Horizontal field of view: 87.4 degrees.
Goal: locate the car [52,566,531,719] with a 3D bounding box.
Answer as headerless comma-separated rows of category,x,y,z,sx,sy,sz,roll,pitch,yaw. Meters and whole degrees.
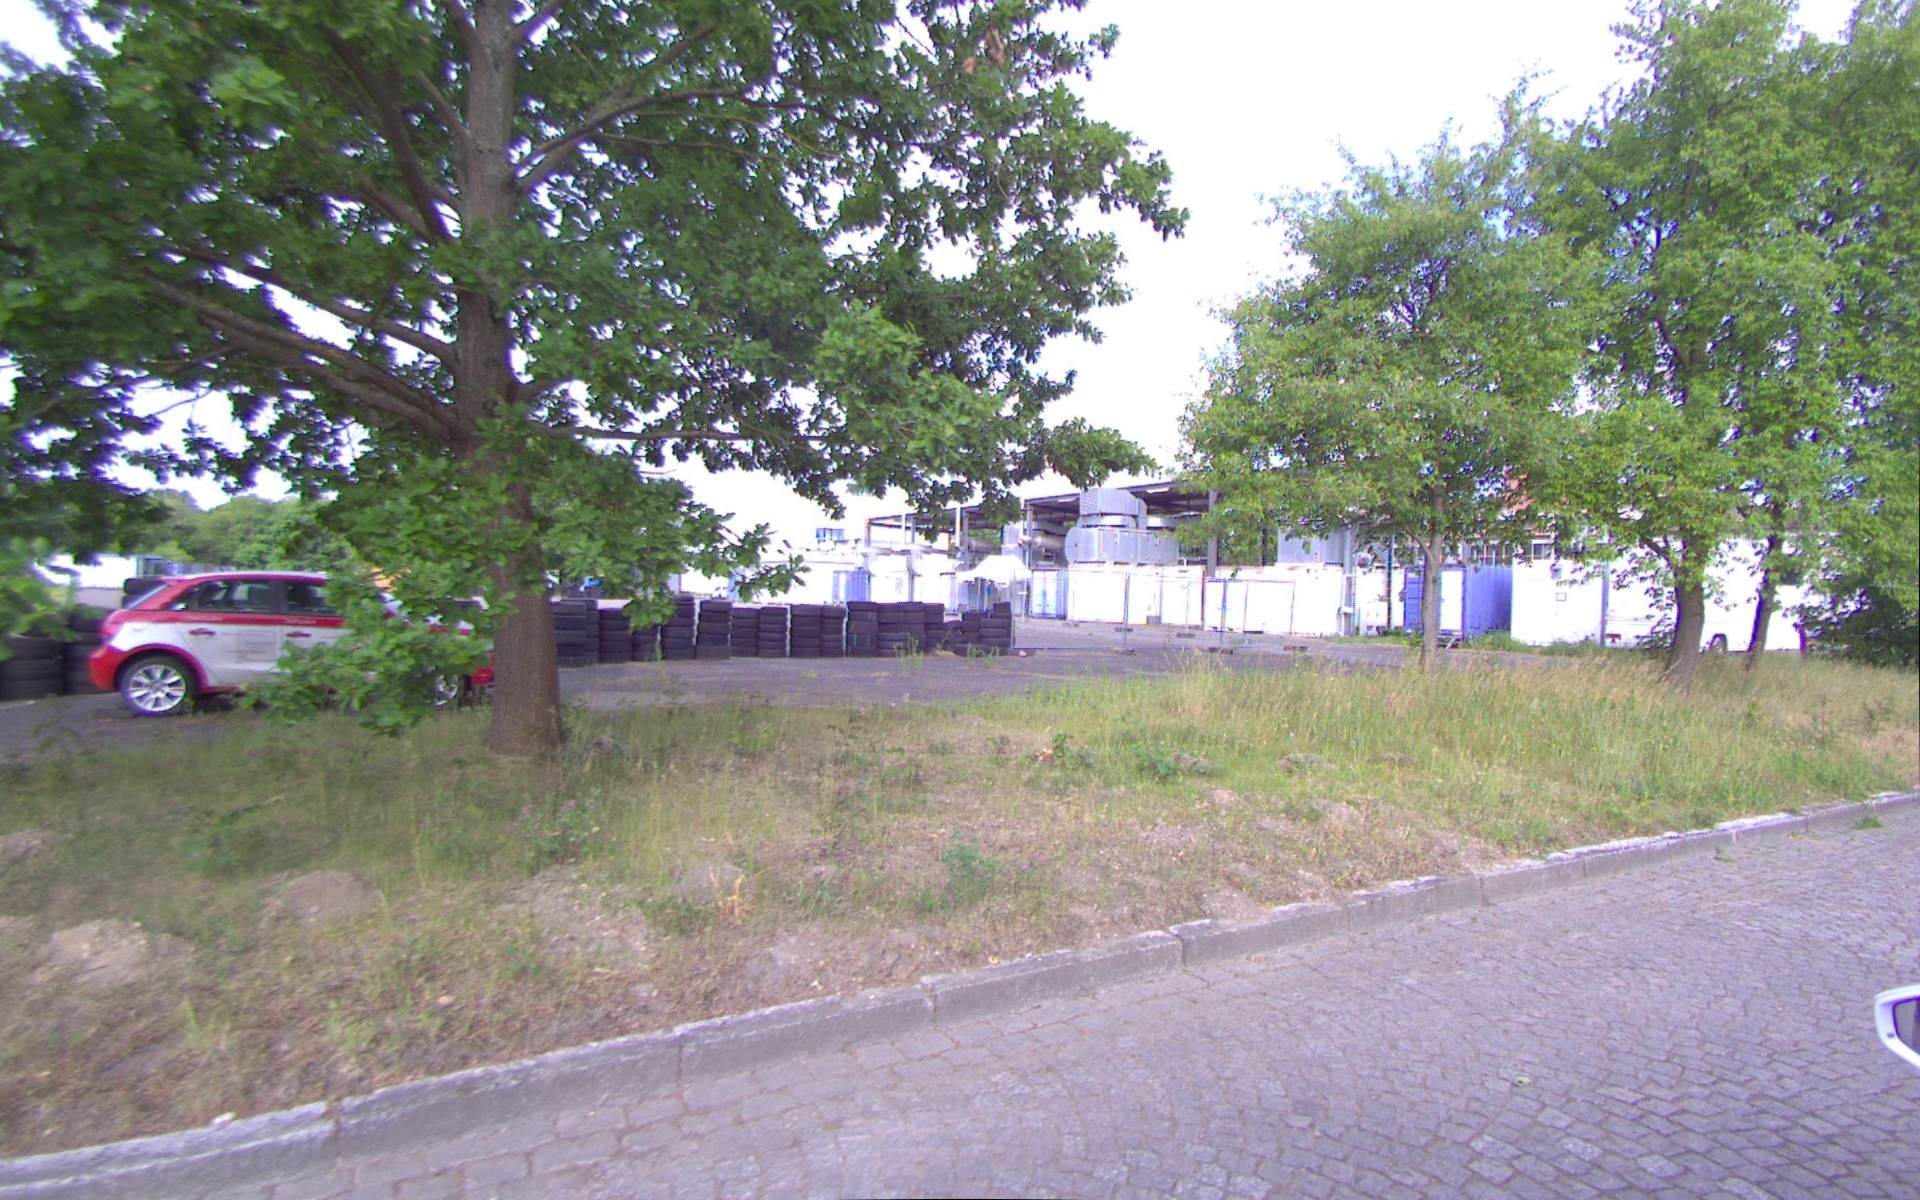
car,-7.093,0.434,11.247,4.161,1.451,1.818,1,1,-25

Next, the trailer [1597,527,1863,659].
trailer,24.856,-0.103,32.181,10.588,3.755,2.645,1,0,-29
